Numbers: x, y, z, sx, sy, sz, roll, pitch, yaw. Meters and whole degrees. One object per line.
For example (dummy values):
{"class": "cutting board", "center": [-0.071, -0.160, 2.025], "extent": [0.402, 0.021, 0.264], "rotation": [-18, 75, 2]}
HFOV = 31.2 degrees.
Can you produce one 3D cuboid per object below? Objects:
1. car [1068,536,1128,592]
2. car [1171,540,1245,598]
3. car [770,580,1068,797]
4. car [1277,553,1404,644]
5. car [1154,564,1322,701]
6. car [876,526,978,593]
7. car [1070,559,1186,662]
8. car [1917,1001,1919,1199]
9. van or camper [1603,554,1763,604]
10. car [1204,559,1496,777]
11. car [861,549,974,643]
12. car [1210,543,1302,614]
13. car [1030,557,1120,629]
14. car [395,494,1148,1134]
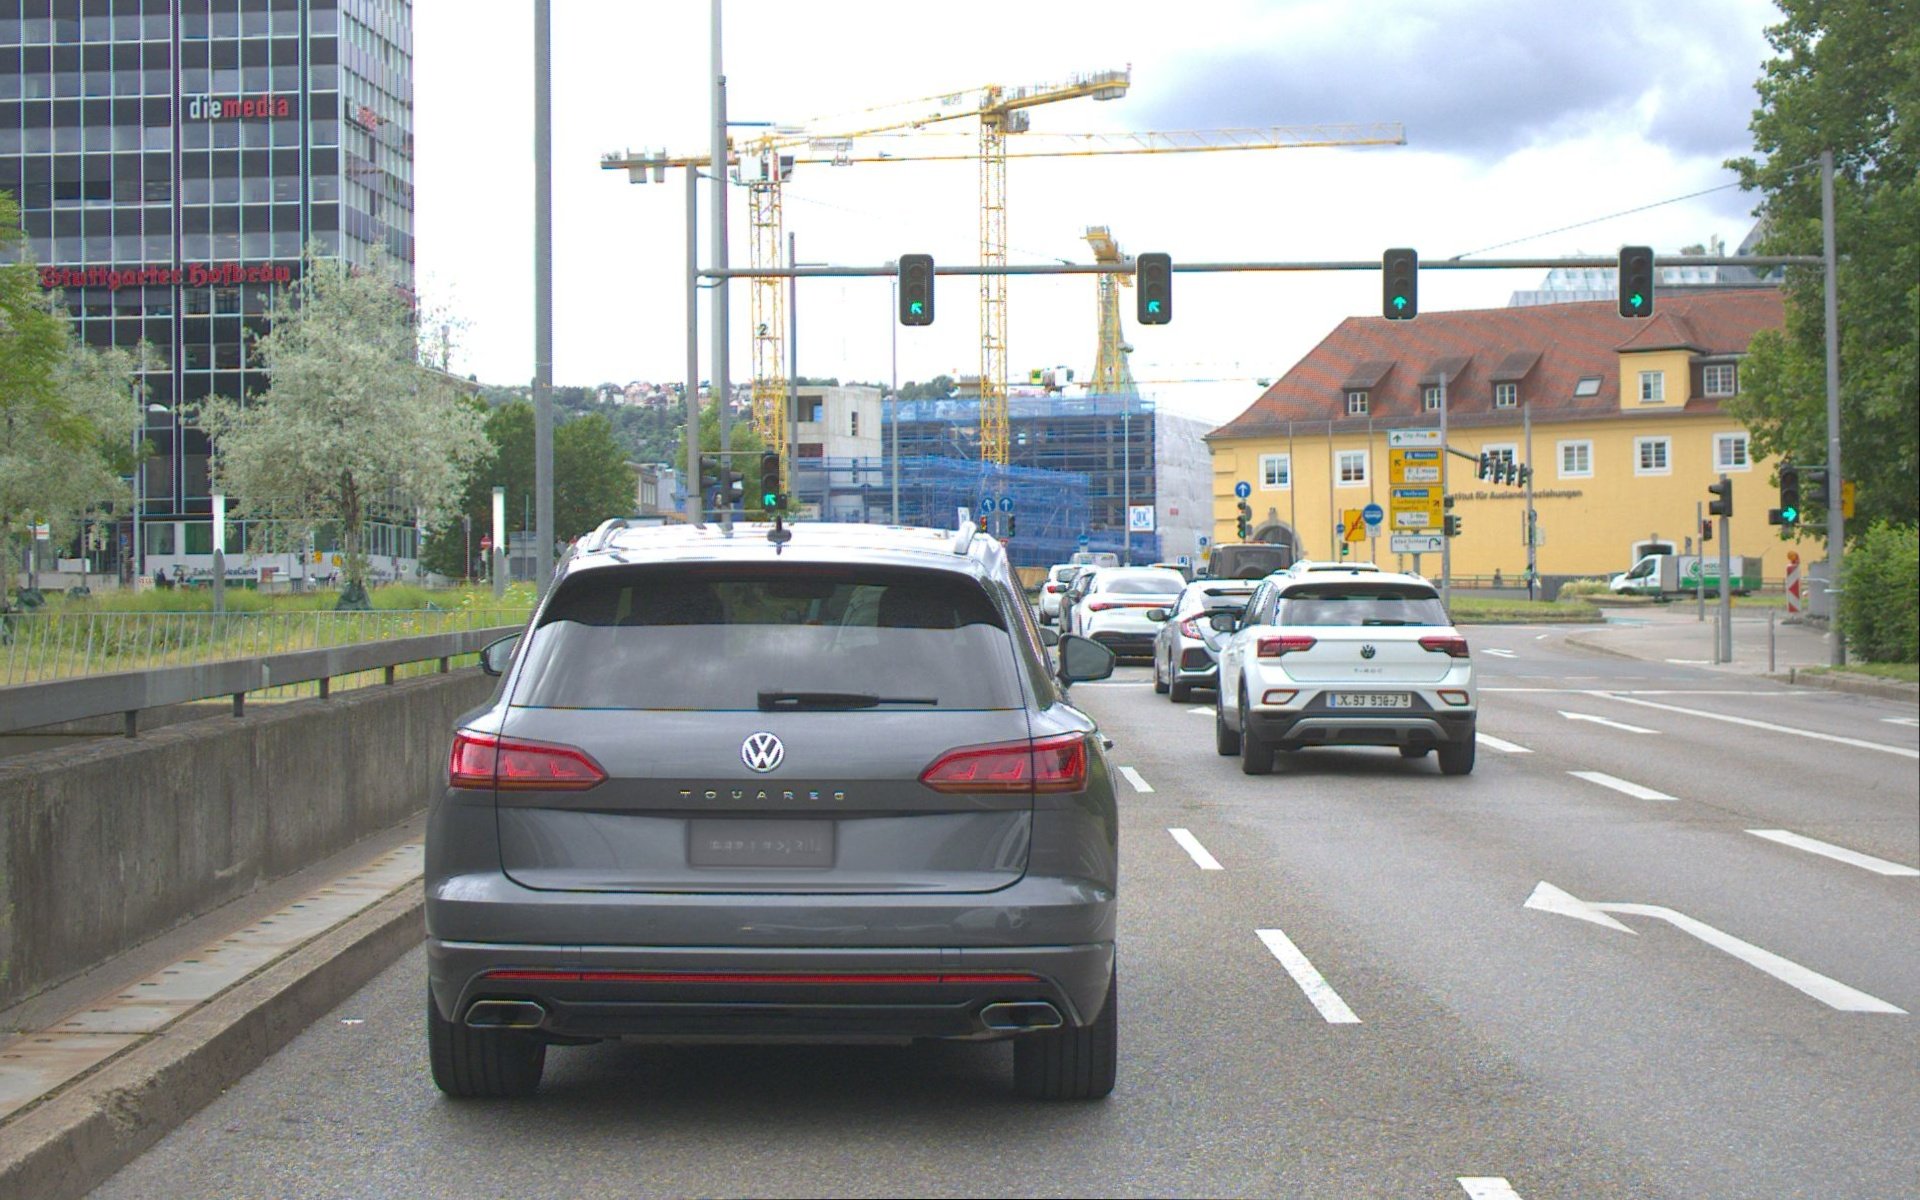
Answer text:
{"class": "car", "center": [5.049, -1.322, 126.210], "extent": [1.993, 2.007, 4.000], "rotation": [0, 1, 0]}
{"class": "car", "center": [6.511, -0.834, 90.401], "extent": [1.719, 1.497, 3.981], "rotation": [1, 1, 1]}
{"class": "car", "center": [-0.280, 0.580, 25.030], "extent": [1.993, 1.382, 4.000], "rotation": [0, 1, 0]}
{"class": "car", "center": [6.537, -0.055, 59.356], "extent": [1.803, 1.497, 3.981], "rotation": [1, 1, 1]}
{"class": "car", "center": [3.248, 0.345, 40.806], "extent": [1.719, 1.497, 4.144], "rotation": [1, 1, 1]}
{"class": "car", "center": [-0.747, -0.964, 80.829], "extent": [2.245, 1.497, 4.611], "rotation": [1, 1, 1]}
{"class": "car", "center": [2.640, 0.132, 53.497], "extent": [1.719, 1.497, 3.981], "rotation": [1, 1, 3]}
{"class": "car", "center": [2.820, 0.667, 4.773], "extent": [1.819, 1.641, 4.379], "rotation": [1, 1, 1]}
{"class": "van or camper", "center": [29.174, -0.861, 138.754], "extent": [6.017, 2.007, 2.015], "rotation": [1, 0, 36]}
{"class": "car", "center": [3.034, 0.484, 27.459], "extent": [1.893, 1.580, 3.801], "rotation": [1, 1, 0]}
{"class": "car", "center": [-0.687, -0.089, 57.511], "extent": [1.814, 1.491, 3.906], "rotation": [1, 1, 0]}
{"class": "car", "center": [6.473, -0.486, 75.517], "extent": [1.719, 1.497, 3.981], "rotation": [1, 1, 1]}
{"class": "car", "center": [2.772, -0.178, 83.843], "extent": [2.139, 1.722, 4.070], "rotation": [0, 0, 1]}
{"class": "car", "center": [-0.495, 0.519, 10.889], "extent": [1.933, 1.641, 4.000], "rotation": [1, 1, 0]}
